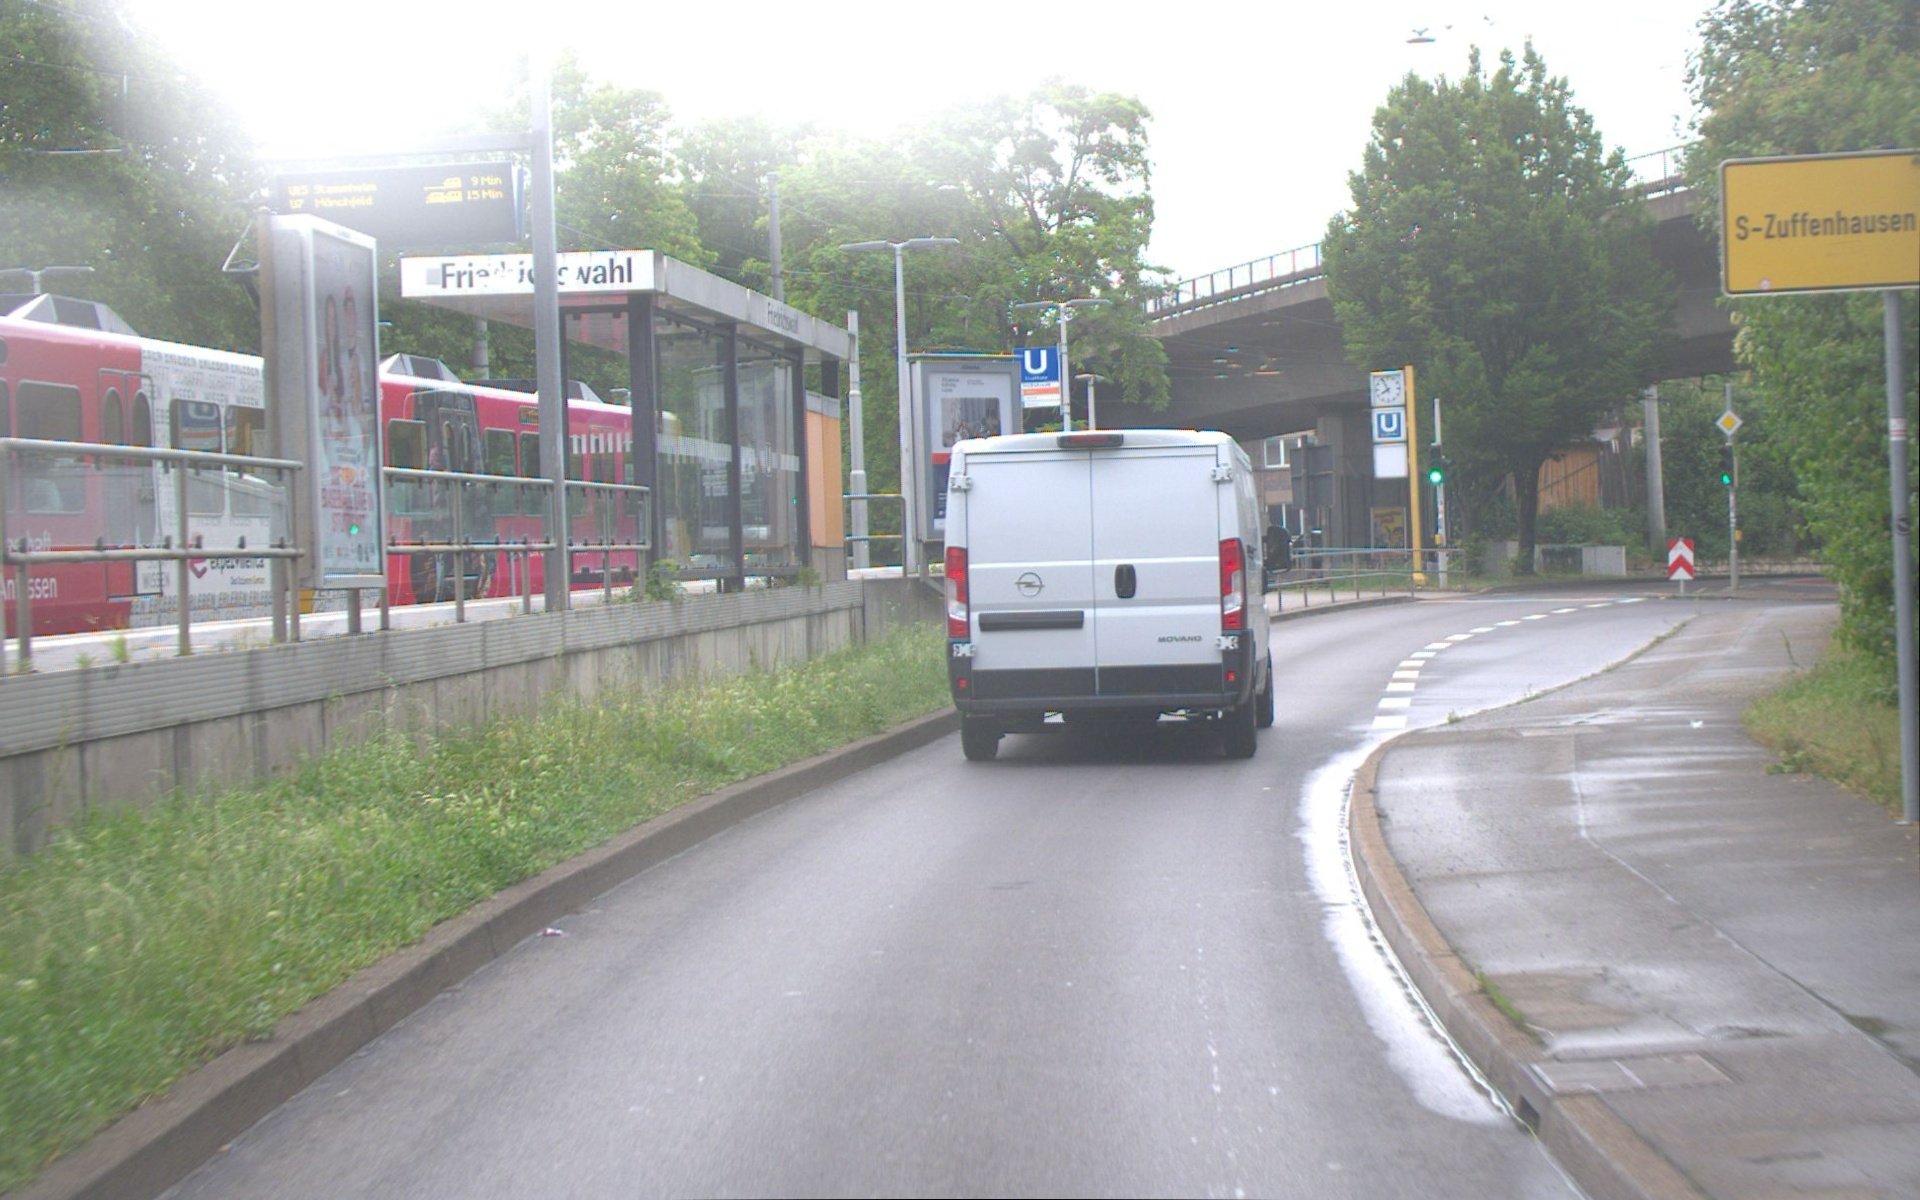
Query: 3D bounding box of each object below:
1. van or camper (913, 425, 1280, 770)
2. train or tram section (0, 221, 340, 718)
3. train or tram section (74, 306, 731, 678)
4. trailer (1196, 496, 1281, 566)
[{"bbox_3d":[1.104,-0.054,24.913,2.199,2.245,4.683,1,1,8],"label":"van or camper"},{"bbox_3d":[-9.114,-1.043,27.163,2.868,3.957,19.326,1,1,6],"label":"train or tram section"},{"bbox_3d":[-6.612,-1.288,46.258,2.869,3.947,19.324,1,1,9],"label":"train or tram section"},{"bbox_3d":[11.050,-2.726,136.654,1.993,2.716,4.125,-1,1,-16],"label":"trailer"}]
